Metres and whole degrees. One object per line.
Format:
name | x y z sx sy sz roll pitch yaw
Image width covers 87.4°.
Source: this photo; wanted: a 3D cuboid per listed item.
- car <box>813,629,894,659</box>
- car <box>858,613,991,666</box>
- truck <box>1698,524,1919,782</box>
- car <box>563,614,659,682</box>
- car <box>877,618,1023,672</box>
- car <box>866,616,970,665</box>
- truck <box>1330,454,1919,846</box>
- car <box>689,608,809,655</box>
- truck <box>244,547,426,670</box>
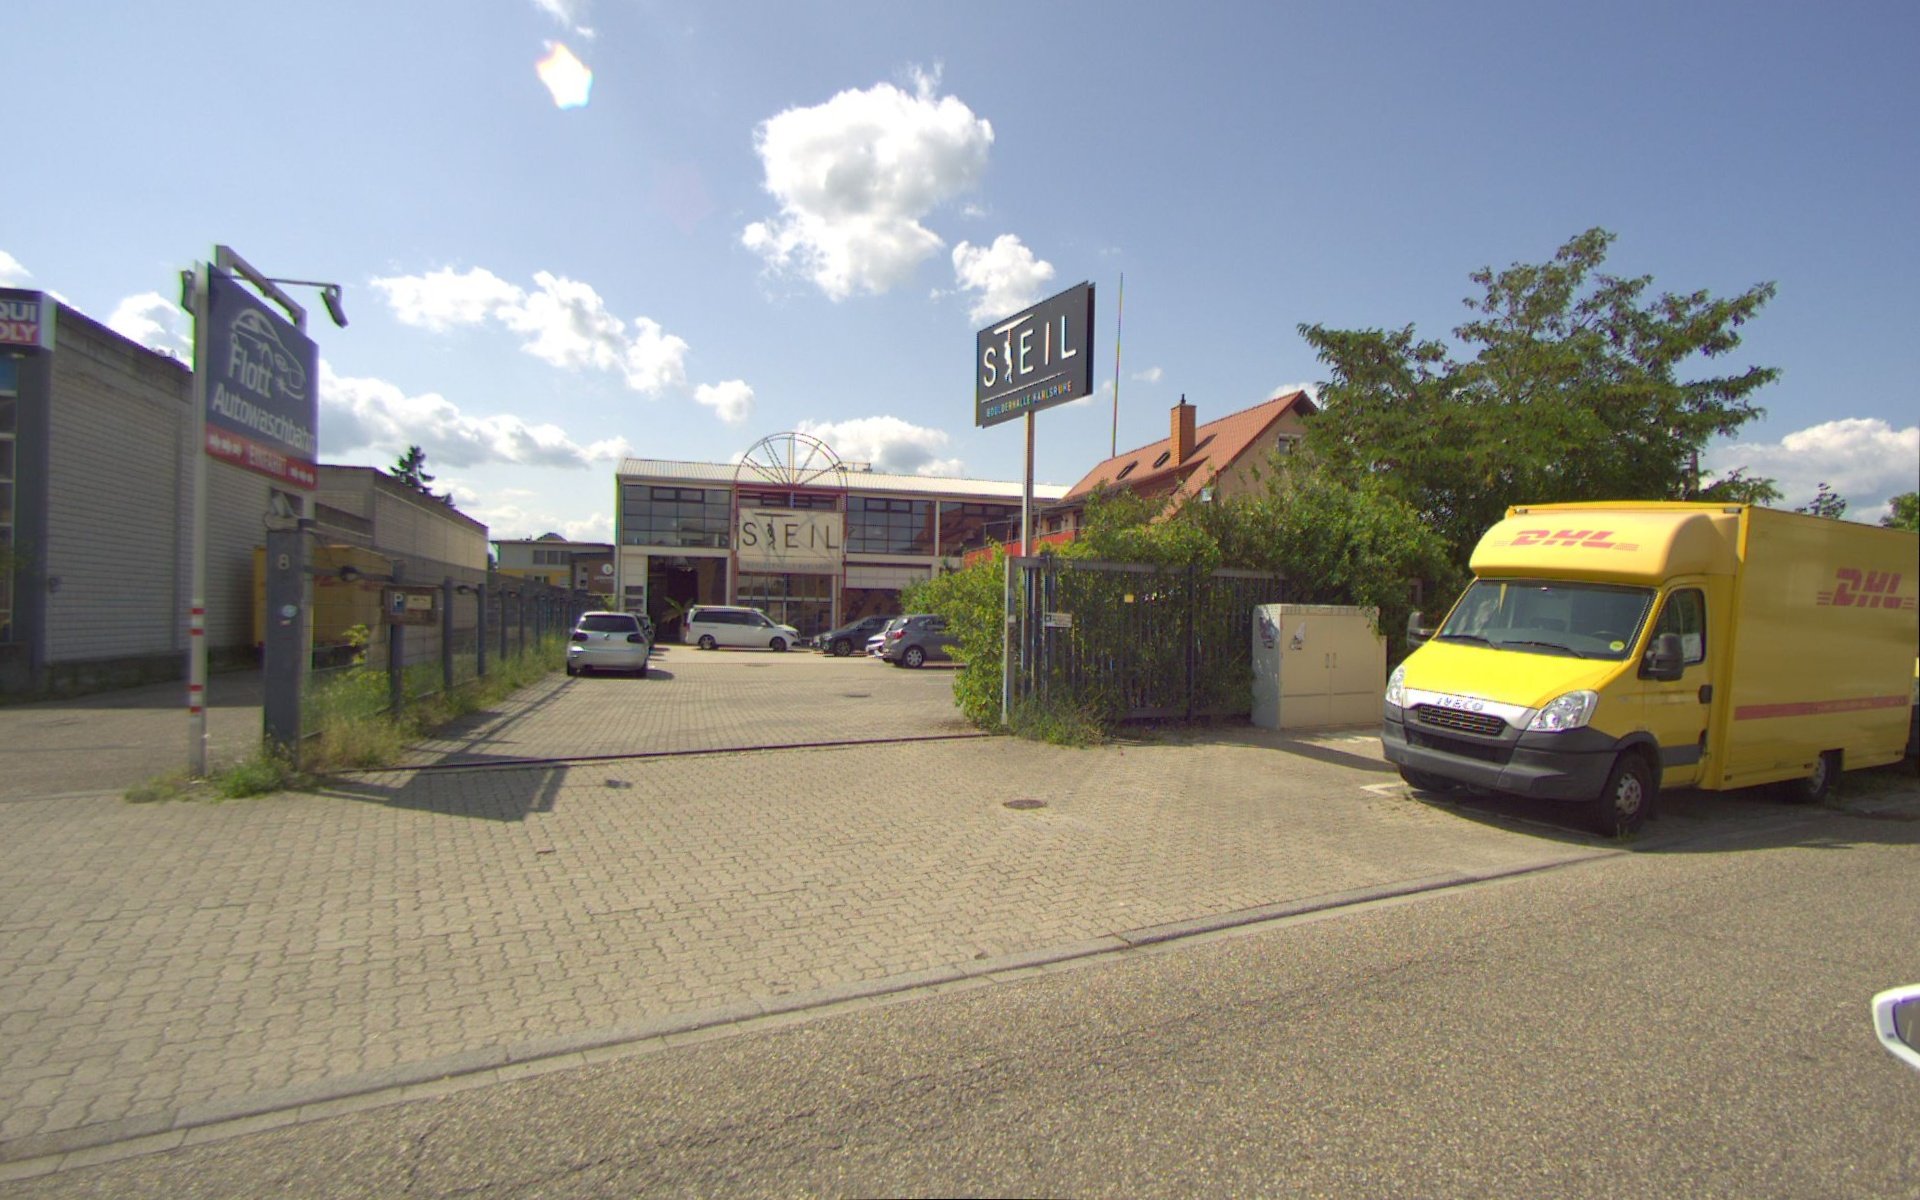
car | -4.405 1.813 41.445 3.156 1.209 1.252 1 -1 -16
car | -1.141 1.253 31.847 3.872 1.579 1.685 1 -1 -19
truck | 13.340 0.645 13.934 7.021 2.901 2.304 2 2 -30
car | -8.364 1.089 23.868 1.833 1.408 3.978 3 -2 -23
car | -0.292 1.285 28.724 3.915 1.447 1.536 1 -1 -19
car | -1.449 1.394 34.436 3.208 1.595 1.695 1 -1 -20
truck | 7.101 0.477 10.212 7.092 2.892 2.257 2 0 -31
car | -9.506 1.431 45.516 5.092 1.992 1.858 1 -1 -5
truck | -16.115 0.281 26.397 2.286 2.801 6.417 1 -1 -16
